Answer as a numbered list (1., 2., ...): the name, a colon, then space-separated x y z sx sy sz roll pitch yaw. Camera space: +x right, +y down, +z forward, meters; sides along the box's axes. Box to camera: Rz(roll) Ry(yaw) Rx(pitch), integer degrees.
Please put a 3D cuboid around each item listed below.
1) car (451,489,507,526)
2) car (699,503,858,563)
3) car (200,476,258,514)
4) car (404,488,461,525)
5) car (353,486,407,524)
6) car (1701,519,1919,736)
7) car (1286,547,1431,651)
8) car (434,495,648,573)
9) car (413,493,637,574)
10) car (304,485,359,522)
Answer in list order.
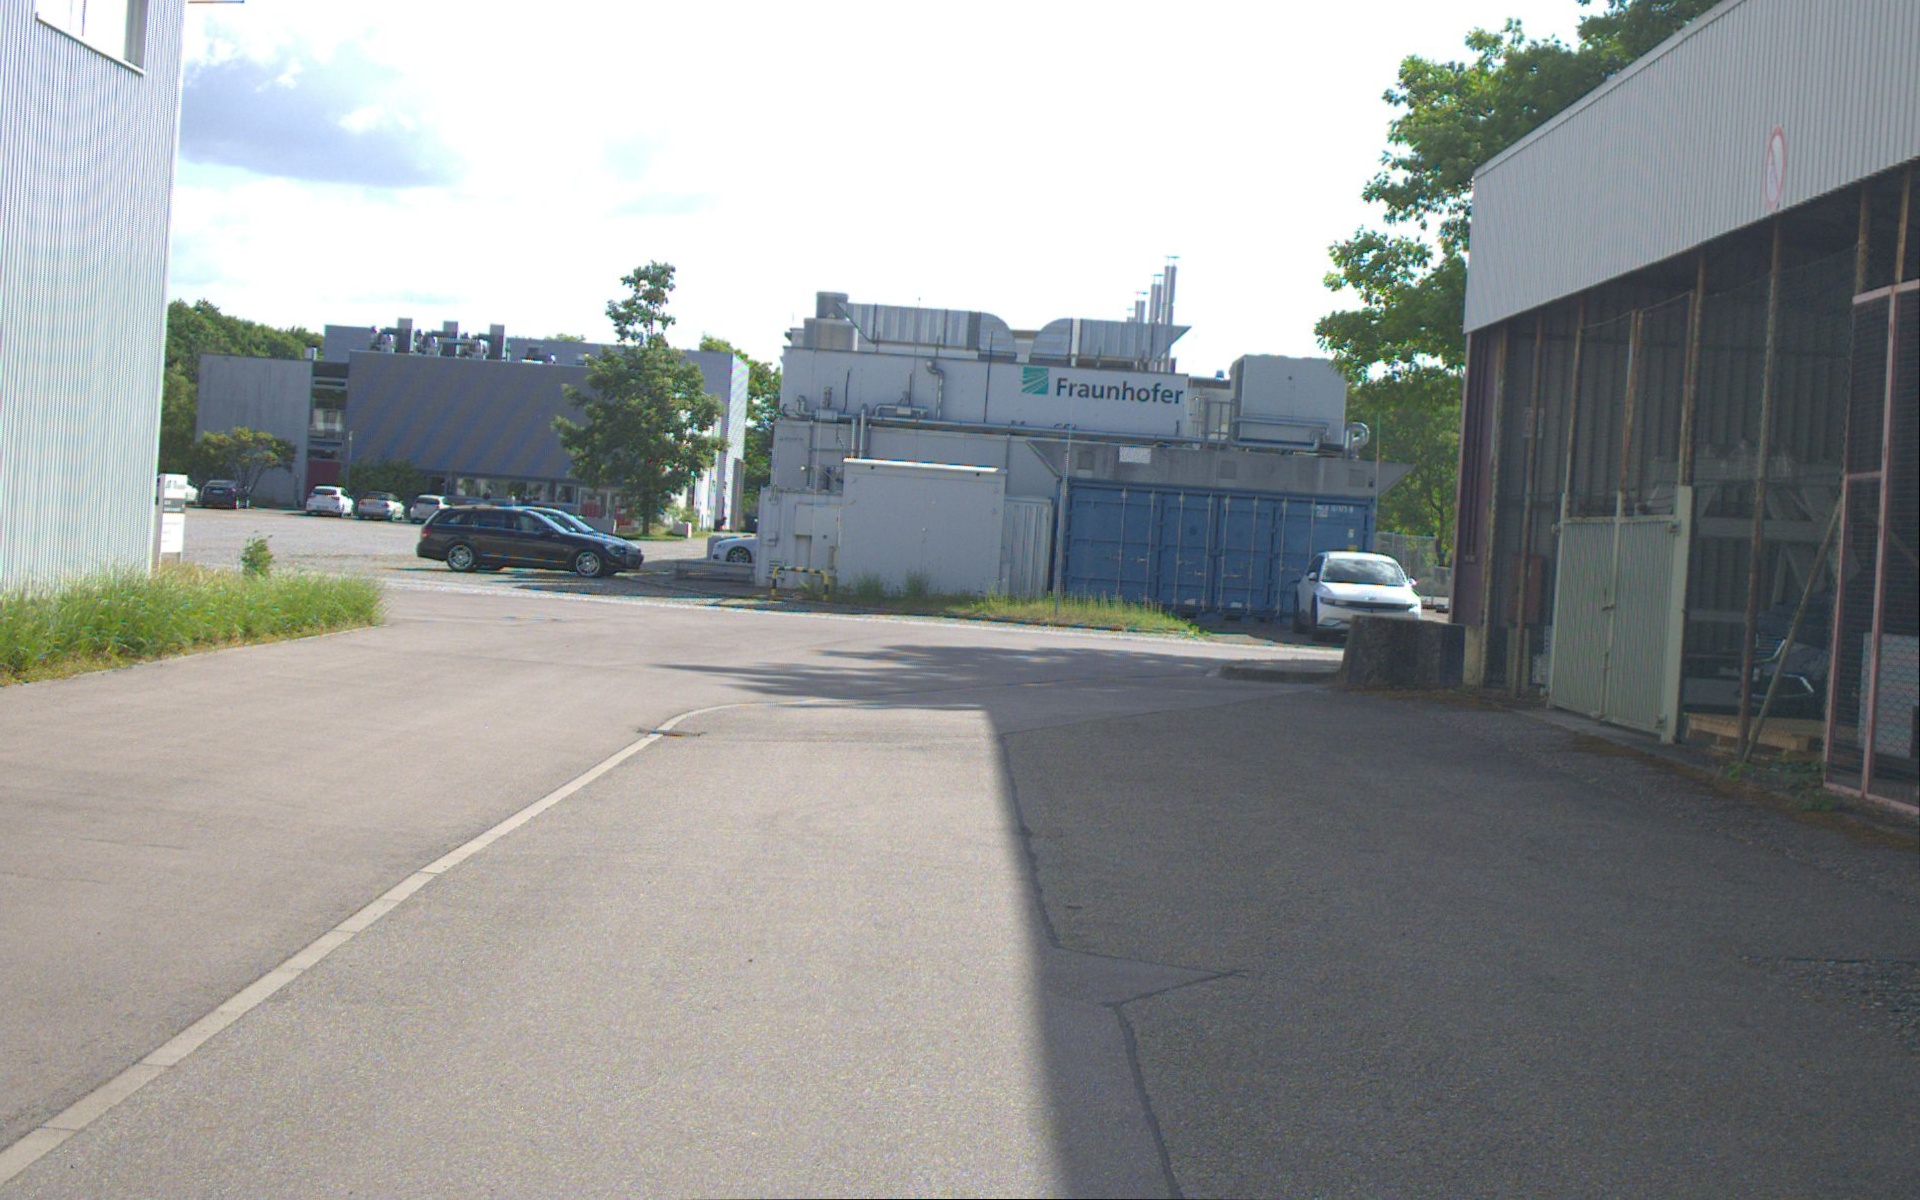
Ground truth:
1. car: -23.843 -4.585 170.513 2.193 1.730 4.000 2 1 -1
2. car: -5.399 -1.999 102.676 4.526 1.503 1.909 4 1 1
3. car: -36.507 -5.234 171.751 1.993 1.730 4.000 2 1 -1
4. car: -26.405 -4.674 172.228 2.193 1.730 4.000 2 1 -1
5. car: -28.990 -4.736 171.889 1.993 1.730 4.000 2 1 -1
6. car: 9.820 0.336 32.022 5.236 1.870 2.000 3 1 -5
7. car: 7.175 -0.051 62.317 1.993 1.580 4.173 4 3 -1
8. car: -9.517 -1.501 78.328 4.526 1.503 1.909 3 1 2
9. car: -9.474 -1.455 75.091 4.526 1.503 1.909 3 1 2
10. car: -31.487 -4.835 172.245 1.993 1.730 4.000 2 1 -1
